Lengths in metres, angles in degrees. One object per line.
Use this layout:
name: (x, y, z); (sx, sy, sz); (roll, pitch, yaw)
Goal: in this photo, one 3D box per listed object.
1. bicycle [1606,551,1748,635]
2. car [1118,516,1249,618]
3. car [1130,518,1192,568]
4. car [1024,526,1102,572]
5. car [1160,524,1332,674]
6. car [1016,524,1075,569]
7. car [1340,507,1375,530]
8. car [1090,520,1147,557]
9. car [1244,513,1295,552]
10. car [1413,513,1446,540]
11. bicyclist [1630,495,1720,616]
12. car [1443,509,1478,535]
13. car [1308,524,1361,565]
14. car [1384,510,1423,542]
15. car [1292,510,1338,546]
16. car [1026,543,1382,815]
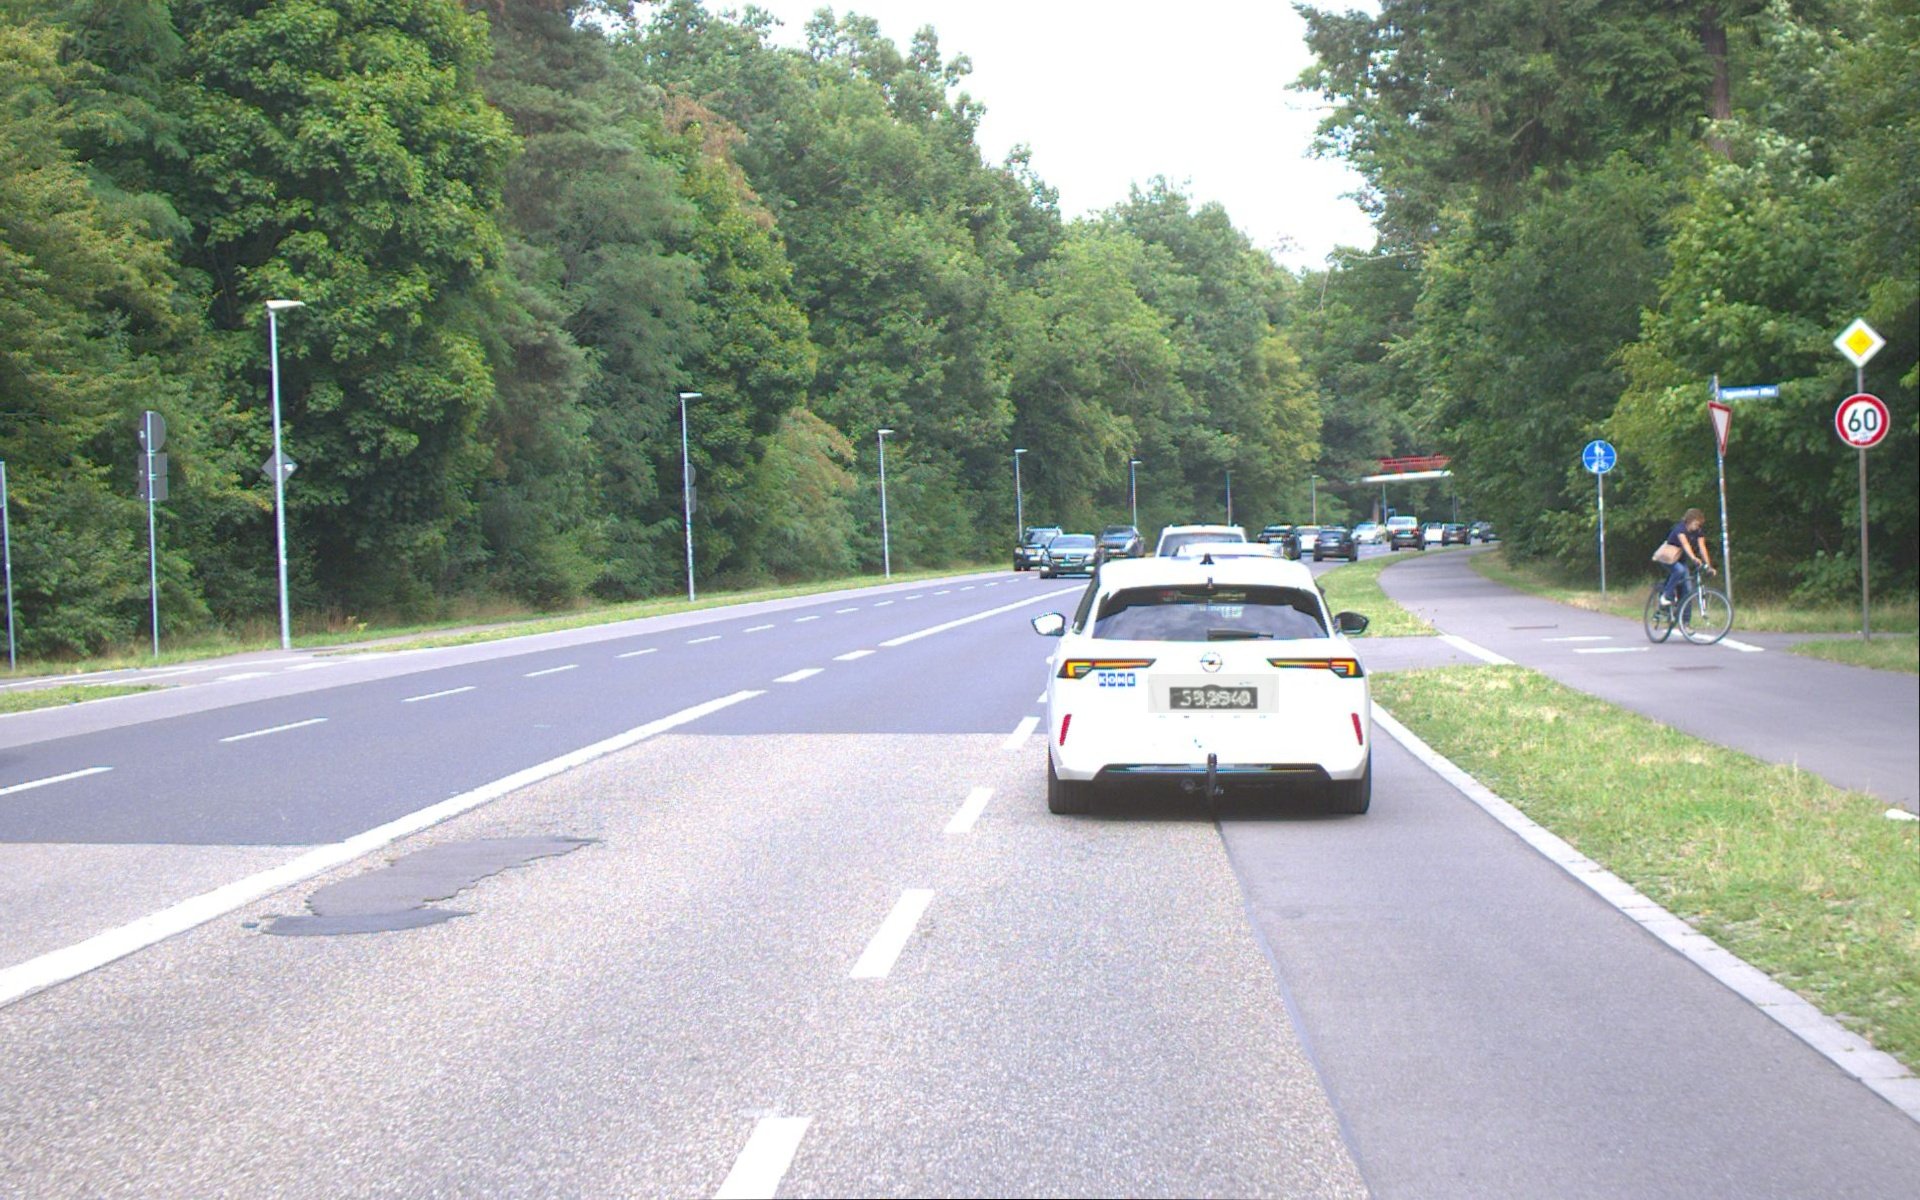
bicycle: (8.803, -0.100, 42.298); (0.708, 0.990, 2.182); (-1, 1, -18)
car: (3.740, -0.540, 56.992); (1.994, 1.601, 3.999); (1, 0, 6)
car: (6.754, -1.901, 115.236); (1.730, 1.582, 3.999); (1, 0, 7)
car: (3.339, -1.616, 110.444); (1.994, 1.430, 4.720); (0, 0, 8)
car: (2.955, -0.022, 35.297); (1.635, 1.415, 3.999); (1, 0, 5)
car: (3.248, -2.001, 129.590); (1.923, 1.649, 4.468); (0, 0, 6)
car: (29.480, -6.022, 254.956); (1.995, 1.557, 4.601); (1, 0, 14)
car: (7.284, -2.811, 157.383); (1.994, 1.611, 4.662); (1, 0, 10)
car: (14.678, -3.193, 162.939); (1.994, 1.777, 3.998); (1, 0, 10)
car: (33.878, -5.295, 247.924); (1.889, 1.809, 3.997); (1, 0, 15)
bicyclist: (8.789, -0.547, 42.279); (0.708, 1.465, 0.902); (-1, 1, -18)
car: (33.866, -5.255, 232.424); (1.995, 1.700, 3.998); (-1, 1, 13)
car: (16.903, -2.498, 154.981); (1.994, 1.777, 3.998); (1, 0, 11)
car: (26.161, -4.351, 202.705); (1.994, 1.777, 3.998); (1, 0, 12)
car: (18.605, -3.745, 180.230); (1.994, 1.777, 3.998); (1, 0, 11)
car: (1.423, 0.384, 20.110); (1.836, 1.405, 4.490); (-1, 1, 4)
